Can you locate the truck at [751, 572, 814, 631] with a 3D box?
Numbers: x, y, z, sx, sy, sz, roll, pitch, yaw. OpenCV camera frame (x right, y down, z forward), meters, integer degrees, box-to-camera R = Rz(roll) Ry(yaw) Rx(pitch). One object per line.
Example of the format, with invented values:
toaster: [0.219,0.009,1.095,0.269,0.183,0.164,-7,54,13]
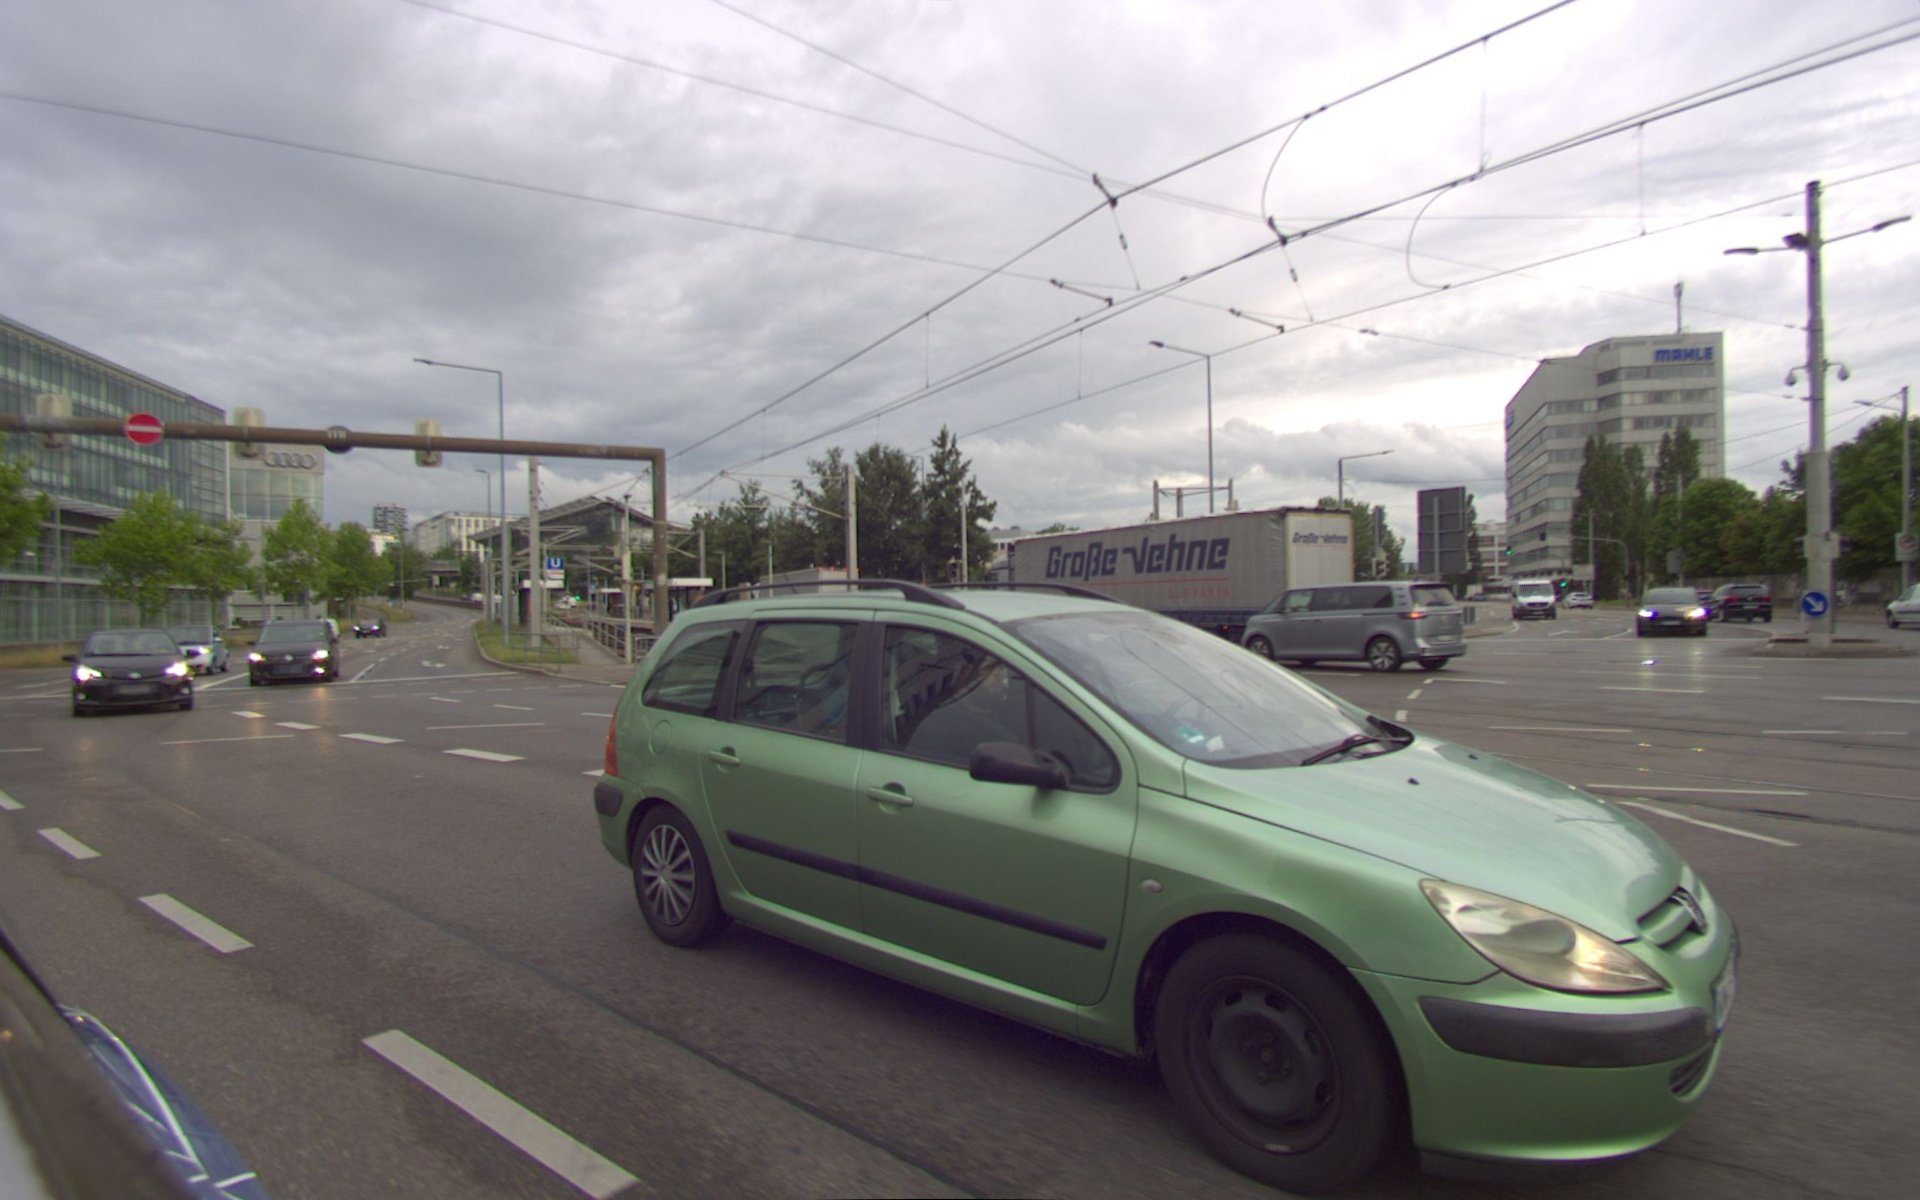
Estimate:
truck: [-12.731,0.154,72.224,2.792,4.026,6.006,-1,-1,-26]

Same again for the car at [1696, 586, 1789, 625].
car: [34.806,0.248,45.164,1.985,1.621,4.425,-1,-1,20]

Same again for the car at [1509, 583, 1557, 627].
car: [33.961,0.253,59.916,2.282,2.301,4.695,-2,1,32]

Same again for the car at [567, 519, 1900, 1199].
car: [0.432,0.631,3.745,4.402,1.479,1.677,-2,1,42]

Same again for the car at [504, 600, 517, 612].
car: [-89.714,1.236,201.846,1.966,2.230,5.160,-3,1,-27]

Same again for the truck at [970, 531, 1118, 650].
truck: [3.061,-0.310,38.788,2.629,4.161,6.205,-1,-1,-29]

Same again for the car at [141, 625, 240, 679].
car: [-24.033,1.575,31.745,1.711,1.489,4.013,-3,0,-27]

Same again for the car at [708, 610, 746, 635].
car: [-17.183,1.611,74.546,1.861,1.664,4.109,-3,1,-25]

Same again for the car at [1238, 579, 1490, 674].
car: [8.760,0.558,22.405,1.966,1.851,4.921,0,-1,-34]

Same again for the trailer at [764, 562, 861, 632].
trailer: [-9.895,-0.041,66.516,2.755,4.139,11.479,-1,-2,-27]

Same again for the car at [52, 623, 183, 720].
car: [-15.362,1.242,18.519,1.671,1.534,3.911,-1,-1,-39]

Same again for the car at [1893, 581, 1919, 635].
car: [32.343,0.274,32.835,1.846,1.697,3.967,-3,1,25]

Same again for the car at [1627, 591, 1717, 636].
car: [24.051,0.442,34.336,1.991,1.412,3.962,-1,-1,28]

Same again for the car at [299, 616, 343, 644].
car: [-45.306,2.091,71.844,1.799,1.723,4.167,-3,1,-22]

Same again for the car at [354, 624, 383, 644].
car: [-51.535,2.930,88.235,1.673,1.534,3.838,-2,1,-22]

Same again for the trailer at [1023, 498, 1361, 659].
trailer: [6.587,-0.459,32.378,2.613,4.156,12.785,0,-1,-29]

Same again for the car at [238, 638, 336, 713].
car: [-17.291,1.878,26.150,1.703,1.604,4.206,-3,0,-29]

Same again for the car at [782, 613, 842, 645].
car: [-8.329,1.579,56.504,1.876,1.566,4.580,-3,1,-27]
